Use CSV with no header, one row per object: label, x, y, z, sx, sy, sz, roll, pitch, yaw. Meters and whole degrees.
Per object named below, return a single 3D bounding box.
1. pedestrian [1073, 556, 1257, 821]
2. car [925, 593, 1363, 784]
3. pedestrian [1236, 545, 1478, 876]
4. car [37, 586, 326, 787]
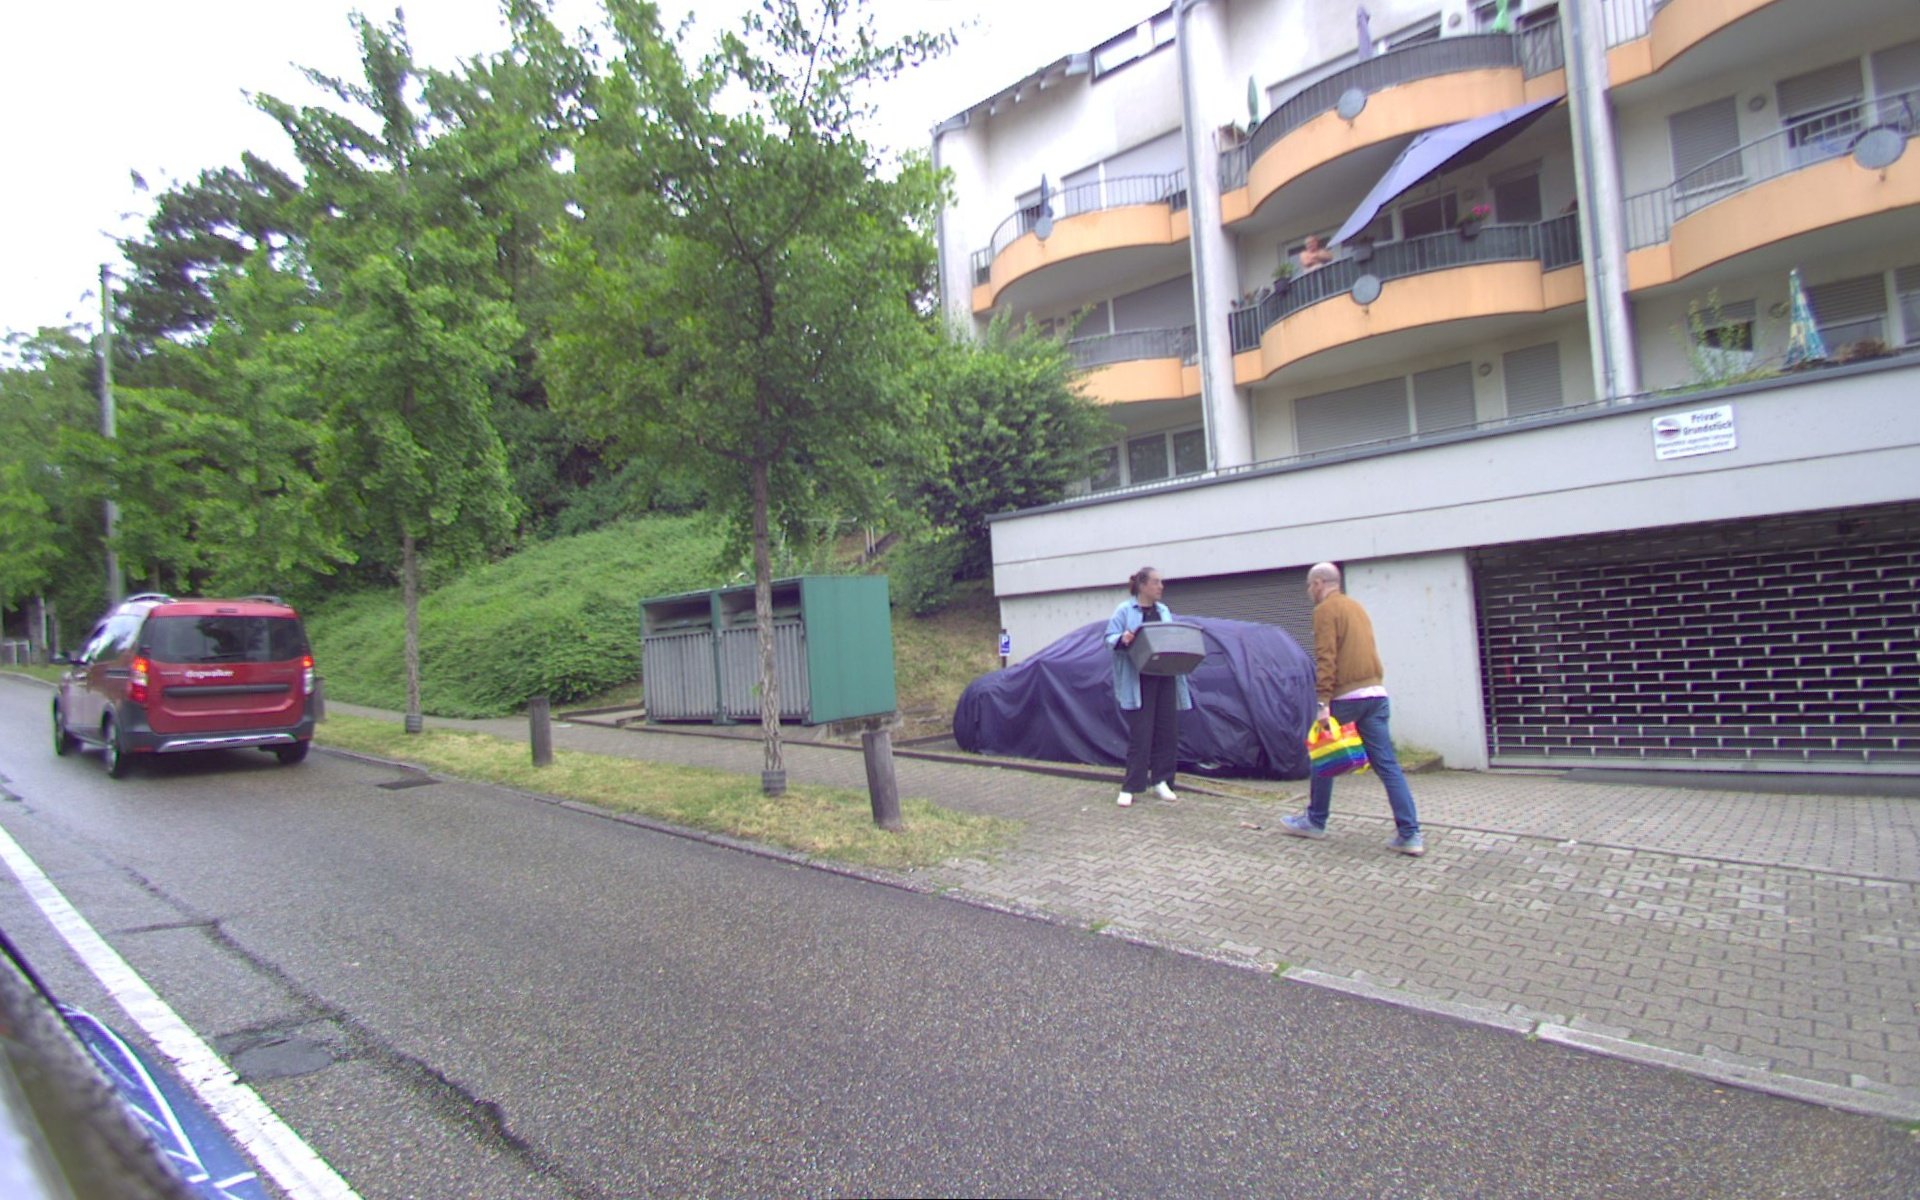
pedestrian,1.517,0.600,7.610,0.810,1.795,1.077,-3,1,-26
car,1.747,0.825,10.363,4.096,1.573,1.759,-2,-5,41
pedestrian,2.387,0.596,6.186,0.810,1.795,1.077,-3,1,-21
car,-8.875,0.835,11.388,4.456,1.842,1.728,-1,-2,41
